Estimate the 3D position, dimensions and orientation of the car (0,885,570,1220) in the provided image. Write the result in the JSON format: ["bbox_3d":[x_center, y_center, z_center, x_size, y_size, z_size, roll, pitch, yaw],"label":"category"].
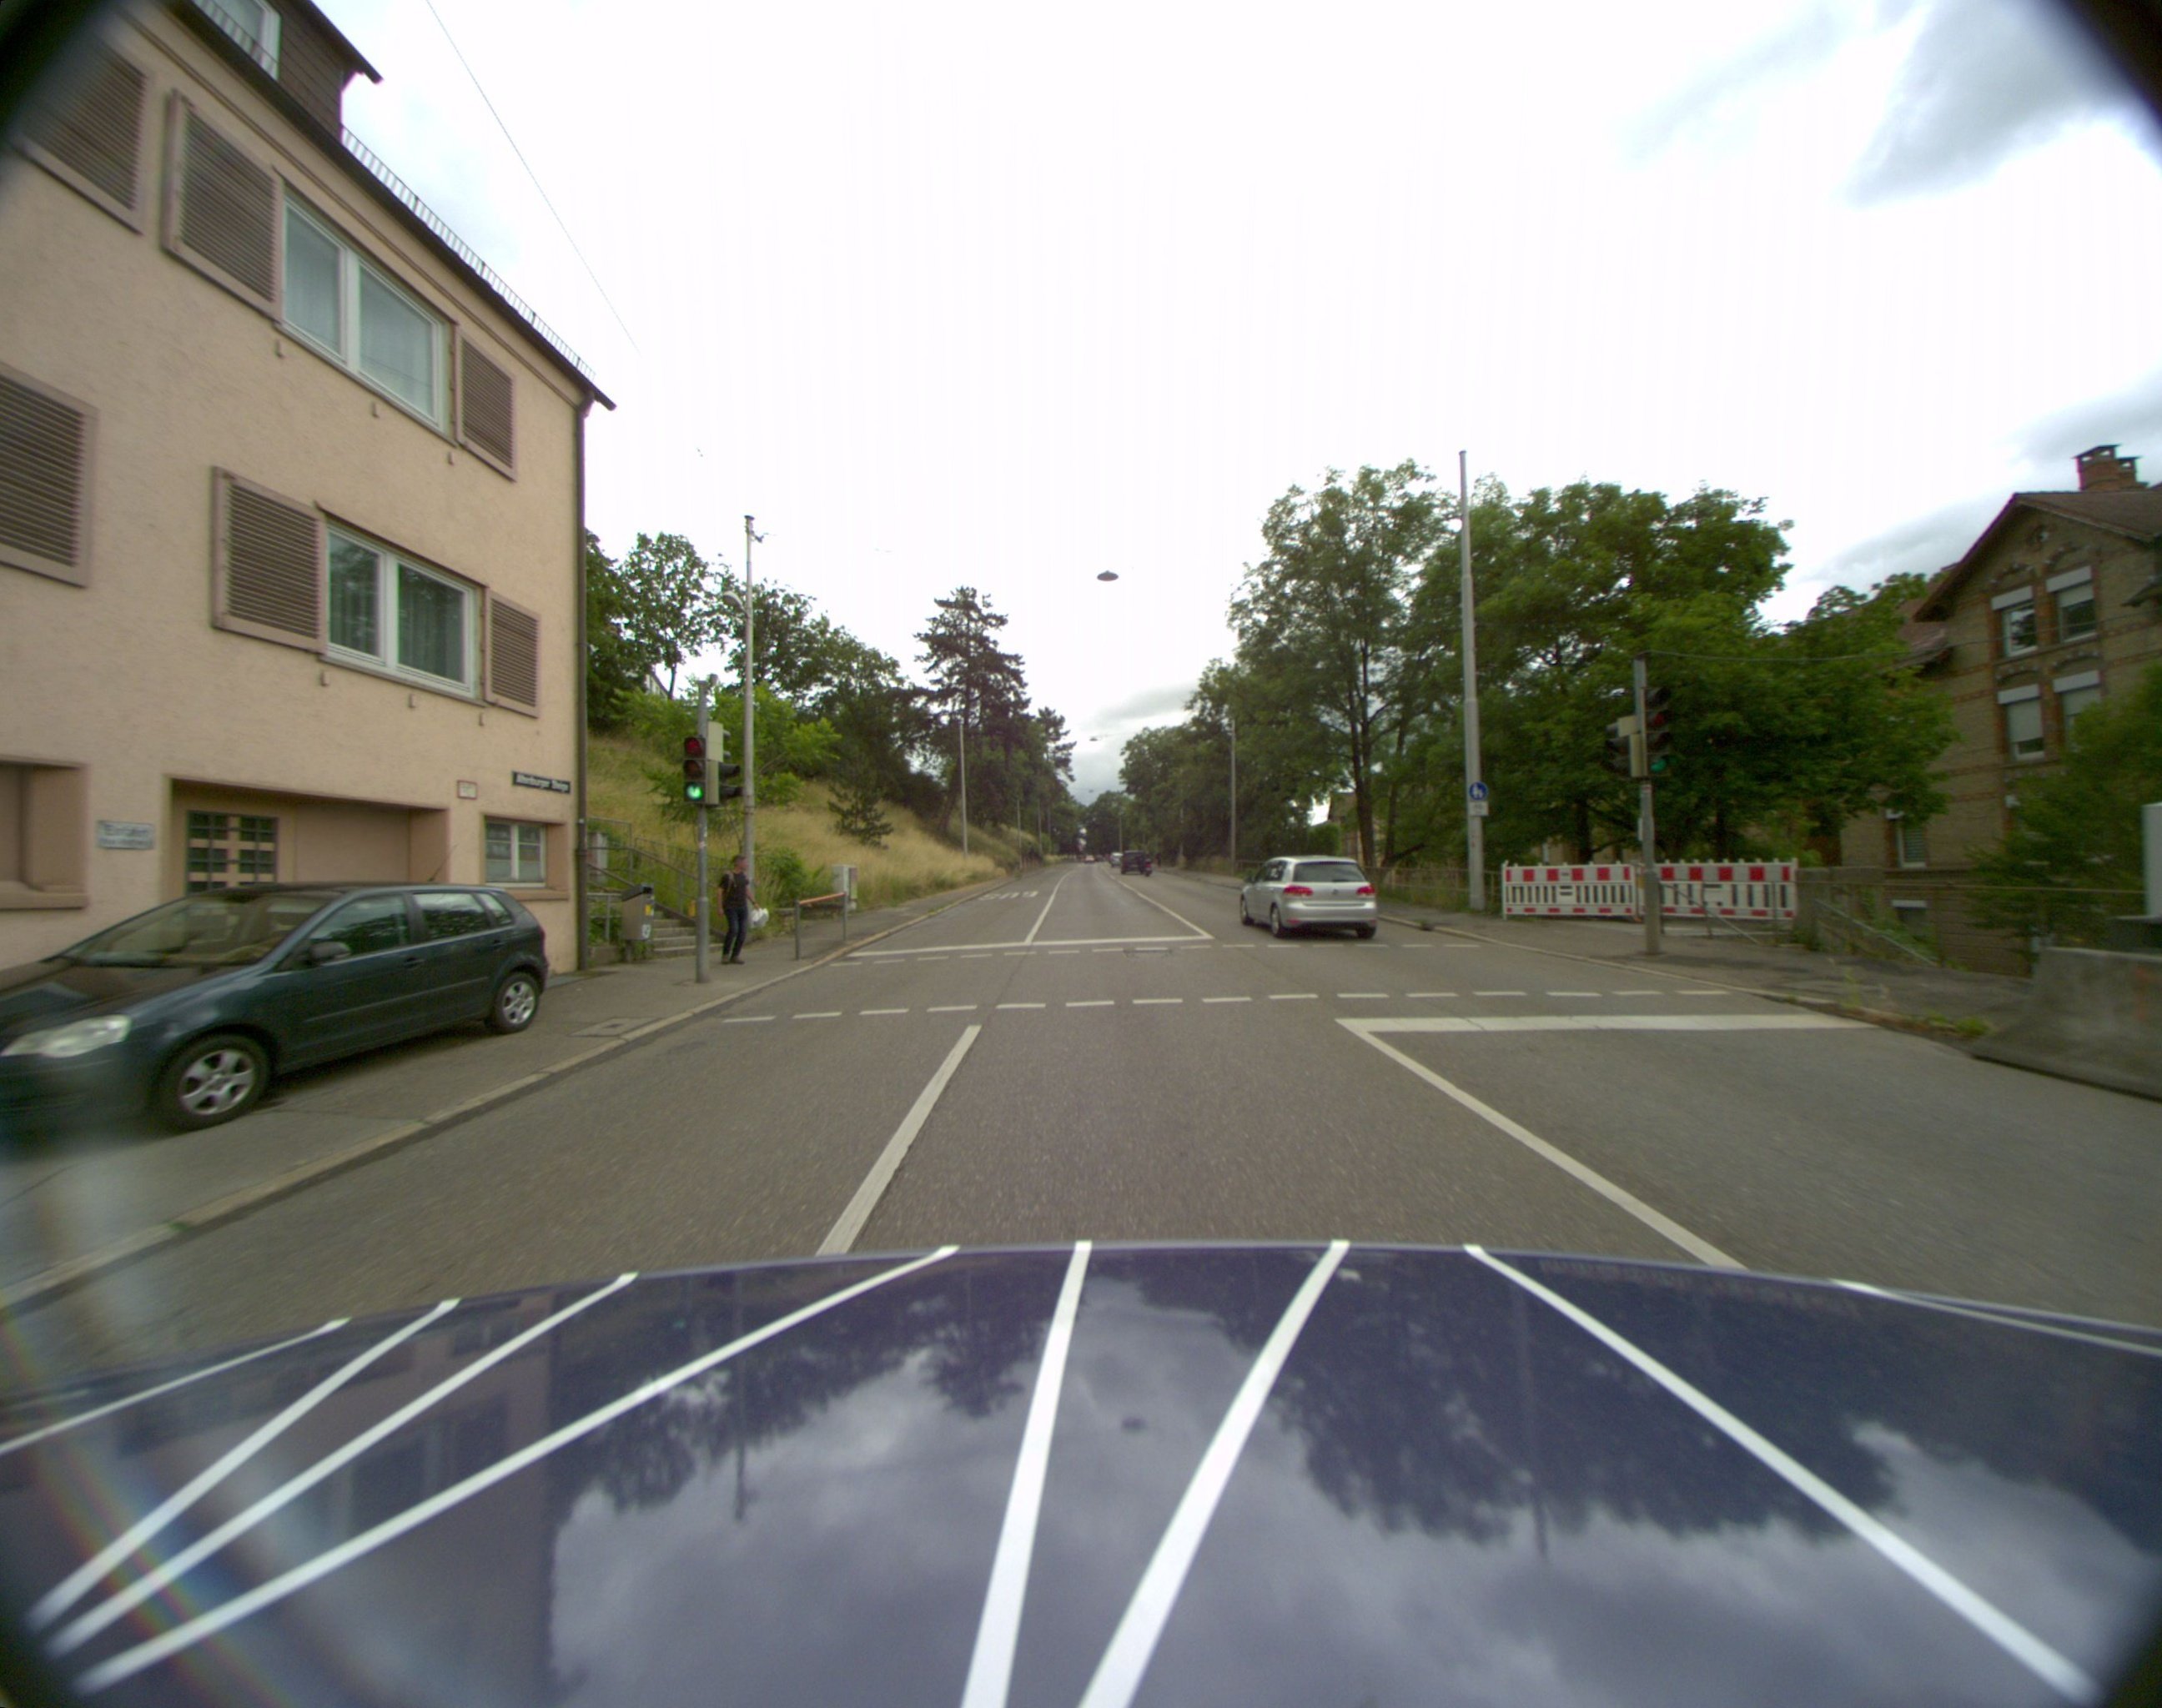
[{"bbox_3d":[-6.153,1.088,5.841,1.686,1.443,4.000,2,1,1],"label":"car"}]

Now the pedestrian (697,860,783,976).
[{"bbox_3d":[-5.320,0.962,11.858,0.887,1.686,0.875,3,0,43],"label":"pedestrian"}]

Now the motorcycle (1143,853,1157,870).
[{"bbox_3d":[4.673,0.507,51.559,0.787,1.139,2.057,0,0,0],"label":"motorcycle"}]

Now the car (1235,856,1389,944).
[{"bbox_3d":[4.231,0.760,14.633,1.725,1.436,4.159,0,0,0],"label":"car"}]

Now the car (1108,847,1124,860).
[{"bbox_3d":[4.298,-0.028,93.463,1.788,1.565,4.280,-1,0,0],"label":"car"}]

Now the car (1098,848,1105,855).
[{"bbox_3d":[4.456,-0.596,165.881,1.673,1.439,3.688,0,0,1],"label":"car"}]

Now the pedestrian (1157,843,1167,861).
[{"bbox_3d":[8.418,-0.184,79.274,0.790,1.764,1.209,-4,0,-2],"label":"pedestrian"}]

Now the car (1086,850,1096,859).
[{"bbox_3d":[1.755,0.127,134.129,1.788,1.565,4.280,-1,0,0],"label":"car"}]

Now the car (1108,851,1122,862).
[{"bbox_3d":[5.459,0.403,122.028,2.000,1.673,4.663,-1,0,1],"label":"car"}]

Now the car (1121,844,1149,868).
[{"bbox_3d":[4.122,0.156,58.936,1.788,1.736,4.428,-1,0,-1],"label":"car"}]

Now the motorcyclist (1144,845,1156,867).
[{"bbox_3d":[4.673,0.136,51.569,0.787,1.507,0.668,0,0,0],"label":"motorcyclist"}]
